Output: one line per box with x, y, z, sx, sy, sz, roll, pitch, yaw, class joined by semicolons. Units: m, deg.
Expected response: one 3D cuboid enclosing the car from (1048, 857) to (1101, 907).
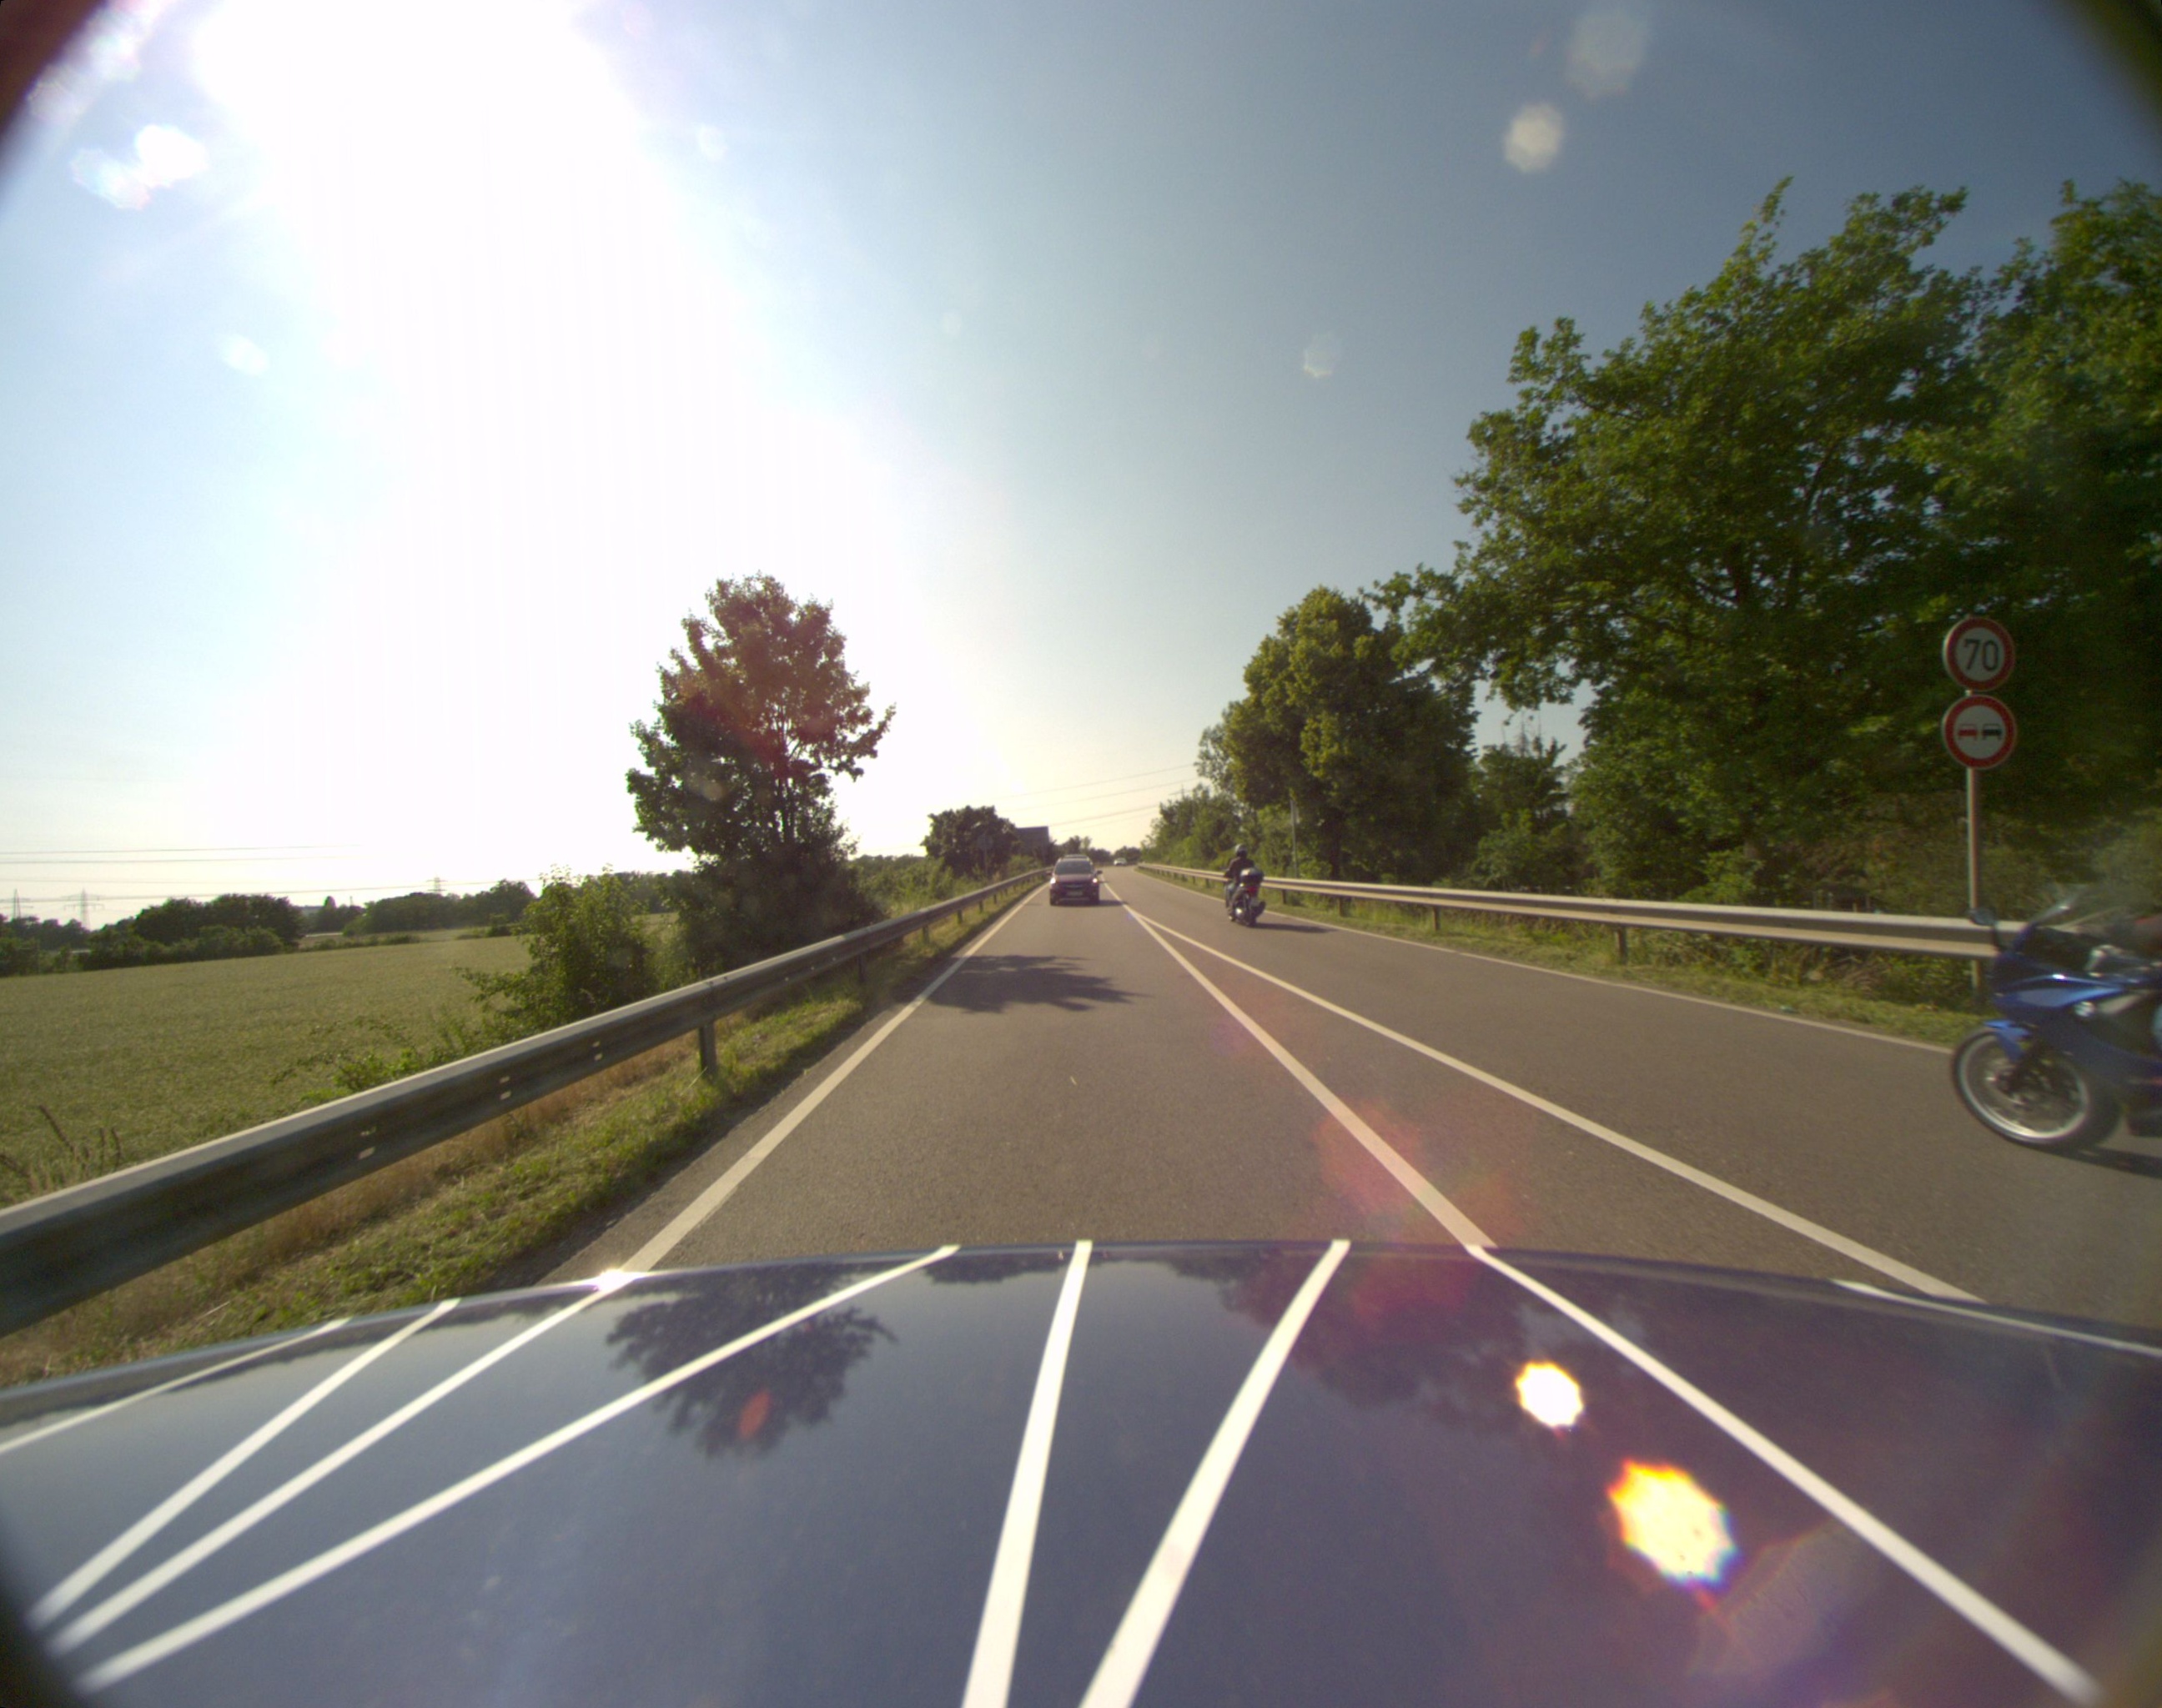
-0.223;0.897;25.894;1.607;1.486;3.999;-2;0;-1;car

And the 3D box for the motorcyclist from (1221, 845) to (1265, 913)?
3.407;0.517;16.069;0.701;1.400;0.784;-1;0;-4;motorcyclist

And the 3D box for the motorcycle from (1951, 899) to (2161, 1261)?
4.404;0.866;2.424;0.719;1.301;2.181;-1;0;-1;motorcycle

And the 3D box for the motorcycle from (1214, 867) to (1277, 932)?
3.424;0.915;16.006;0.719;1.243;2.077;-1;0;-5;motorcycle

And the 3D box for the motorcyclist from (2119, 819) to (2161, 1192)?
4.404;0.563;2.478;0.701;1.400;0.979;-1;0;-1;motorcyclist
